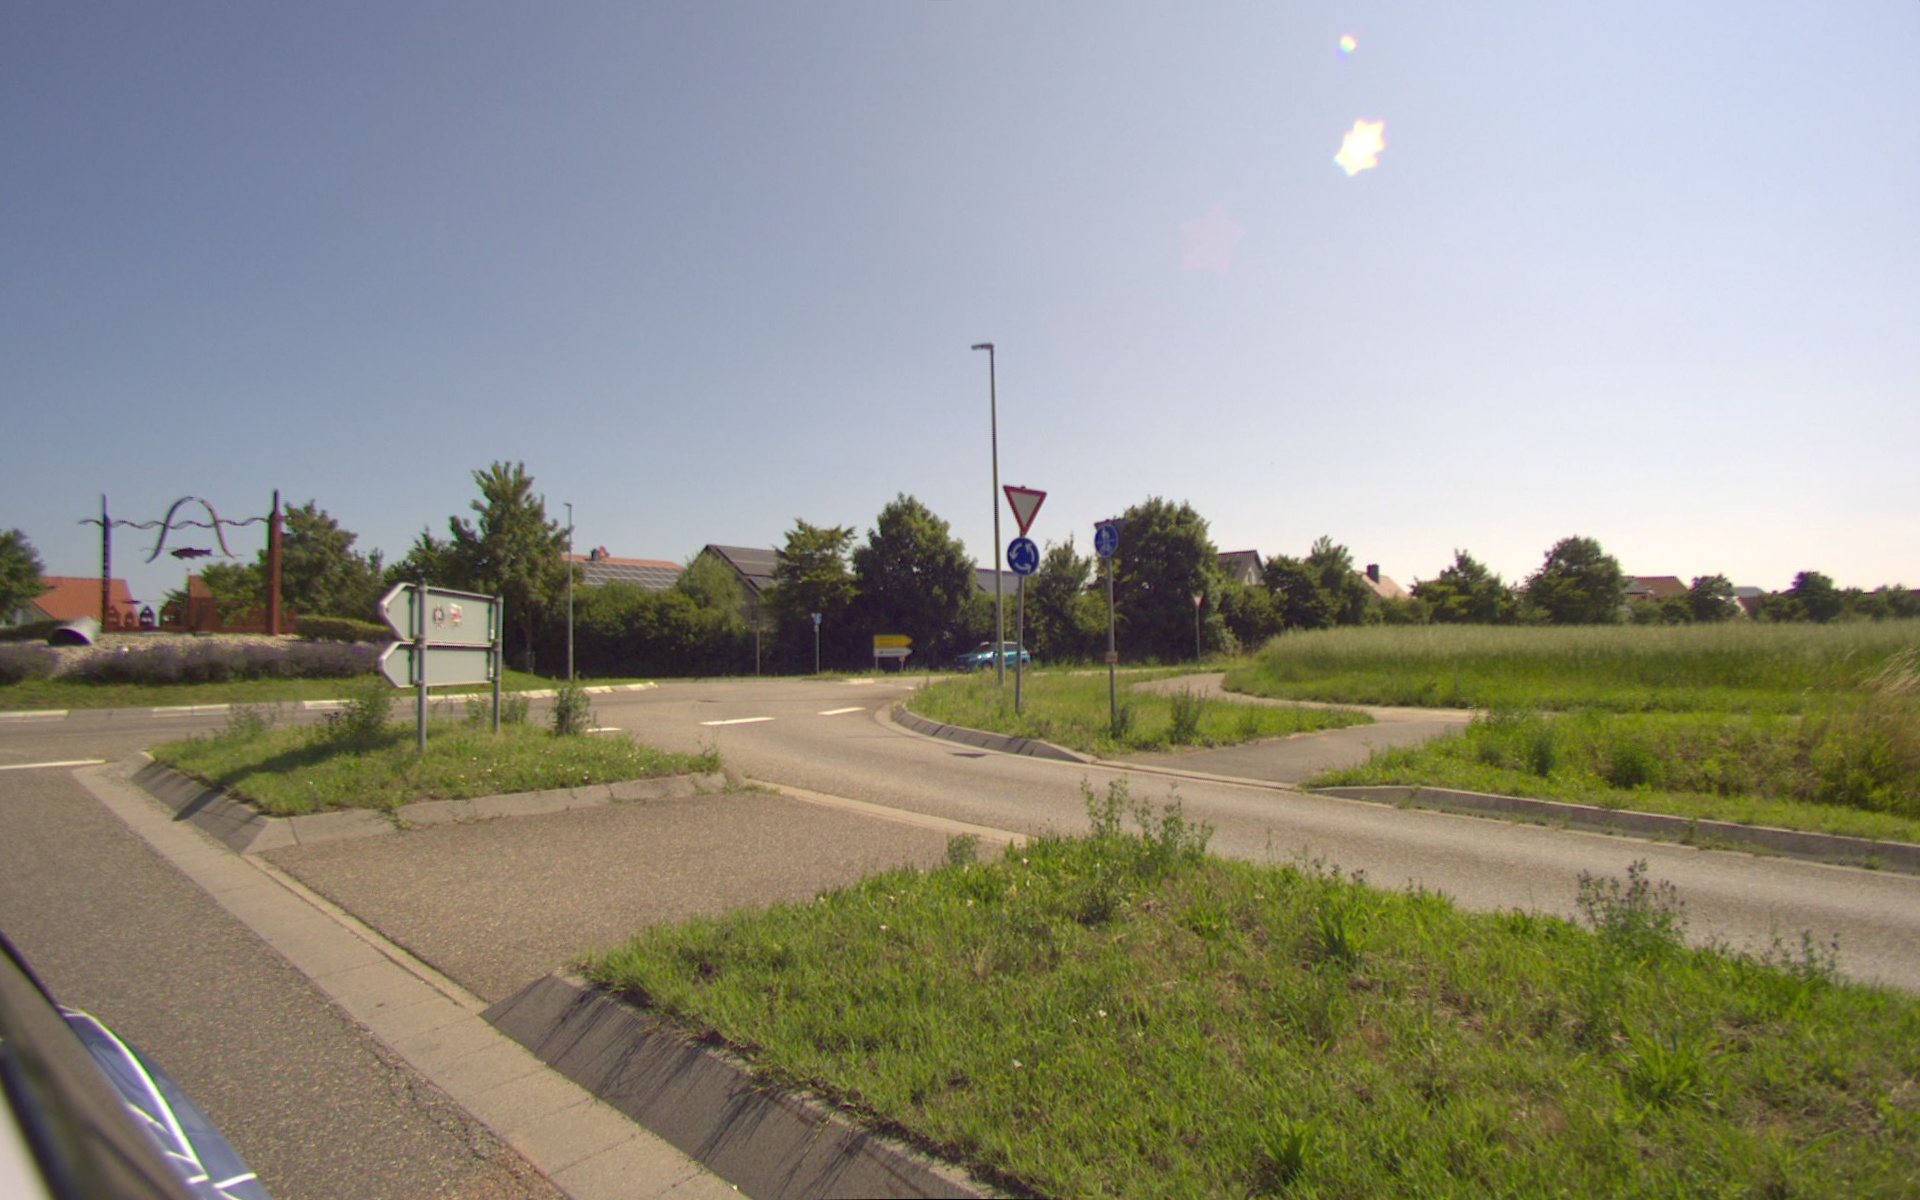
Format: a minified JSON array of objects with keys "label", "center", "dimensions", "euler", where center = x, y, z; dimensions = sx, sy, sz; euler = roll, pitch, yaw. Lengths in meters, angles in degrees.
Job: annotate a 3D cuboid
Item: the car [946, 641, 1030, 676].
[{"label":"car","center":[1.354,2.733,47.977],"dimensions":[3.939,1.588,1.651],"euler":[2,-4,-43]}]
